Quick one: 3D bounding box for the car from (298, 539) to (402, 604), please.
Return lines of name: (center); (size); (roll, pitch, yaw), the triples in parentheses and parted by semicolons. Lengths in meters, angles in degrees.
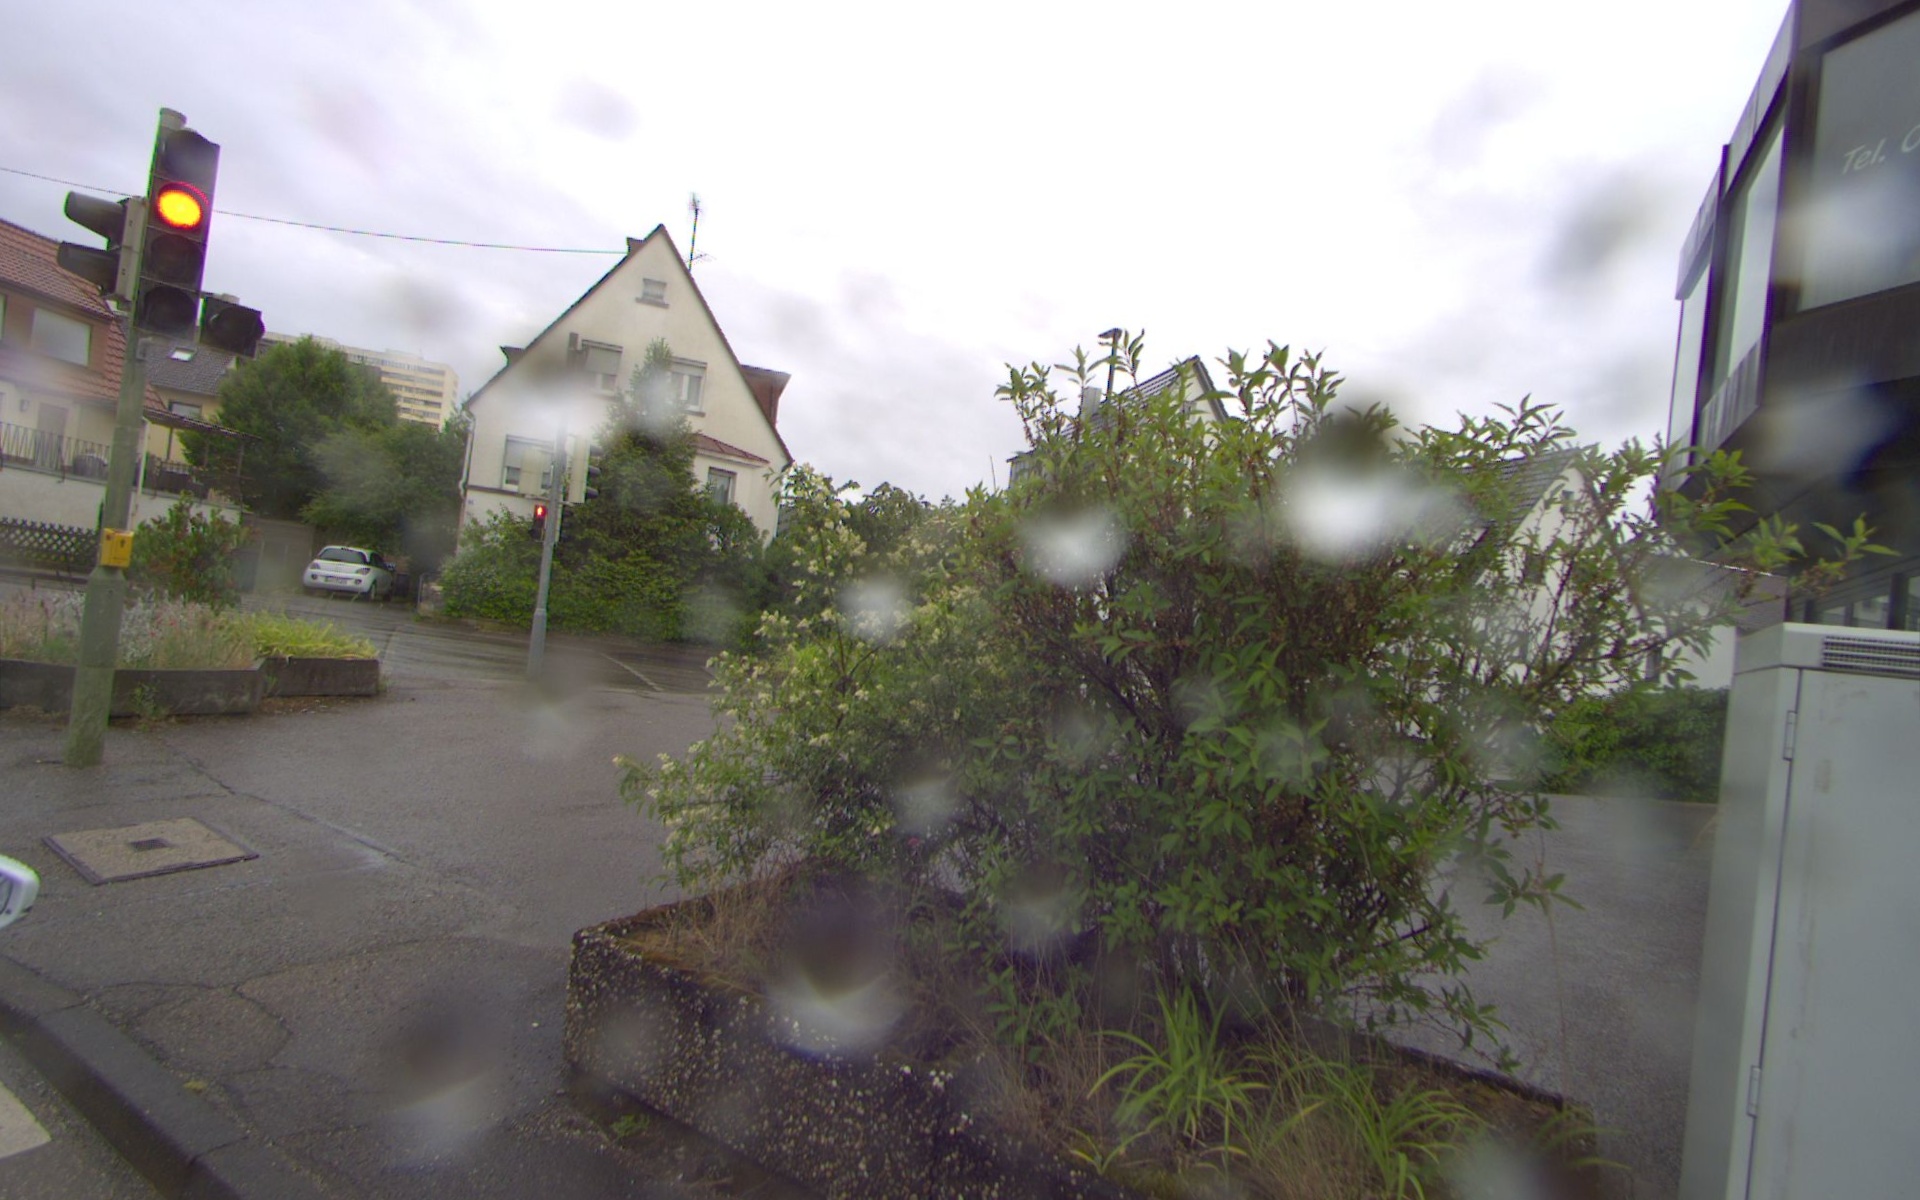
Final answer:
car: (-17.685, -0.808, 29.366); (1.722, 1.532, 3.982); (9, -2, -21)
